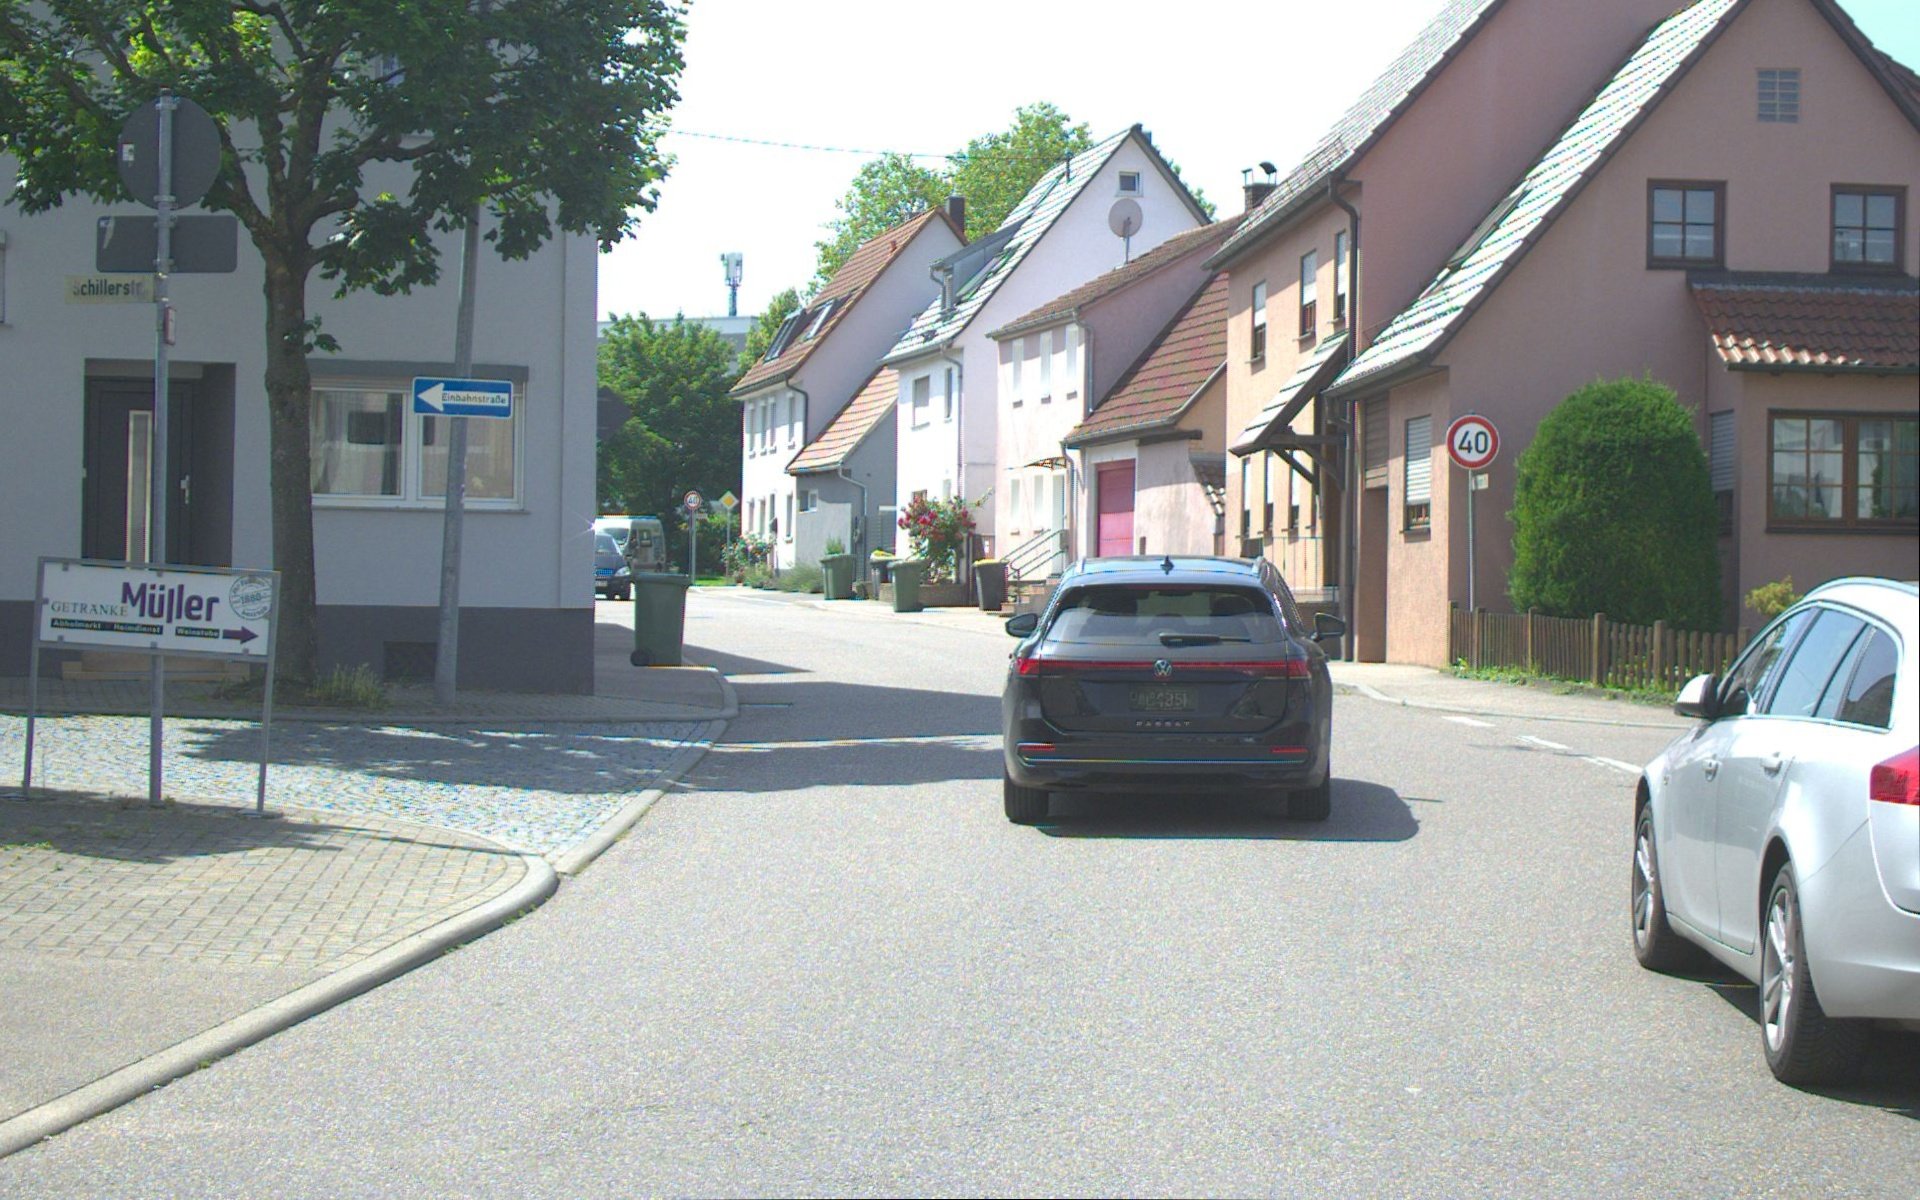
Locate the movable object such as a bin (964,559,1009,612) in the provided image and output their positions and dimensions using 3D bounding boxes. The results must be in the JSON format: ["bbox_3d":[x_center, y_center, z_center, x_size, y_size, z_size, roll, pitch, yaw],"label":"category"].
[{"bbox_3d":[0.541,-0.306,70.614,0.678,1.046,0.835,-3,2,-16],"label":"movable object such as a bin"}]

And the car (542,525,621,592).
[{"bbox_3d":[-9.030,-1.009,81.831,1.799,1.550,4.072,0,1,-7],"label":"car"}]

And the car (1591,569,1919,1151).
[{"bbox_3d":[3.227,0.673,10.897,1.786,1.437,4.337,2,1,3],"label":"car"}]

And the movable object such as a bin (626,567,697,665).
[{"bbox_3d":[-3.334,0.173,38.349,0.753,1.056,0.680,2,1,-5],"label":"movable object such as a bin"}]

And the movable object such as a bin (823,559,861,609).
[{"bbox_3d":[-2.779,-0.378,80.686,0.678,1.151,0.820,2,1,-16],"label":"movable object such as a bin"}]

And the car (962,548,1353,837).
[{"bbox_3d":[1.276,0.449,20.025,1.842,1.415,4.681,-1,2,9],"label":"car"}]

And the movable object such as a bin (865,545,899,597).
[{"bbox_3d":[-1.828,-0.687,80.597,0.664,1.190,0.660,1,1,-12],"label":"movable object such as a bin"}]

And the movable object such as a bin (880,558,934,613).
[{"bbox_3d":[-1.109,-0.303,71.533,0.875,1.071,0.873,-3,2,-16],"label":"movable object such as a bin"}]

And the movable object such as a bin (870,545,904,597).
[{"bbox_3d":[-1.697,-0.681,79.746,0.664,1.190,0.588,1,1,-12],"label":"movable object such as a bin"}]
